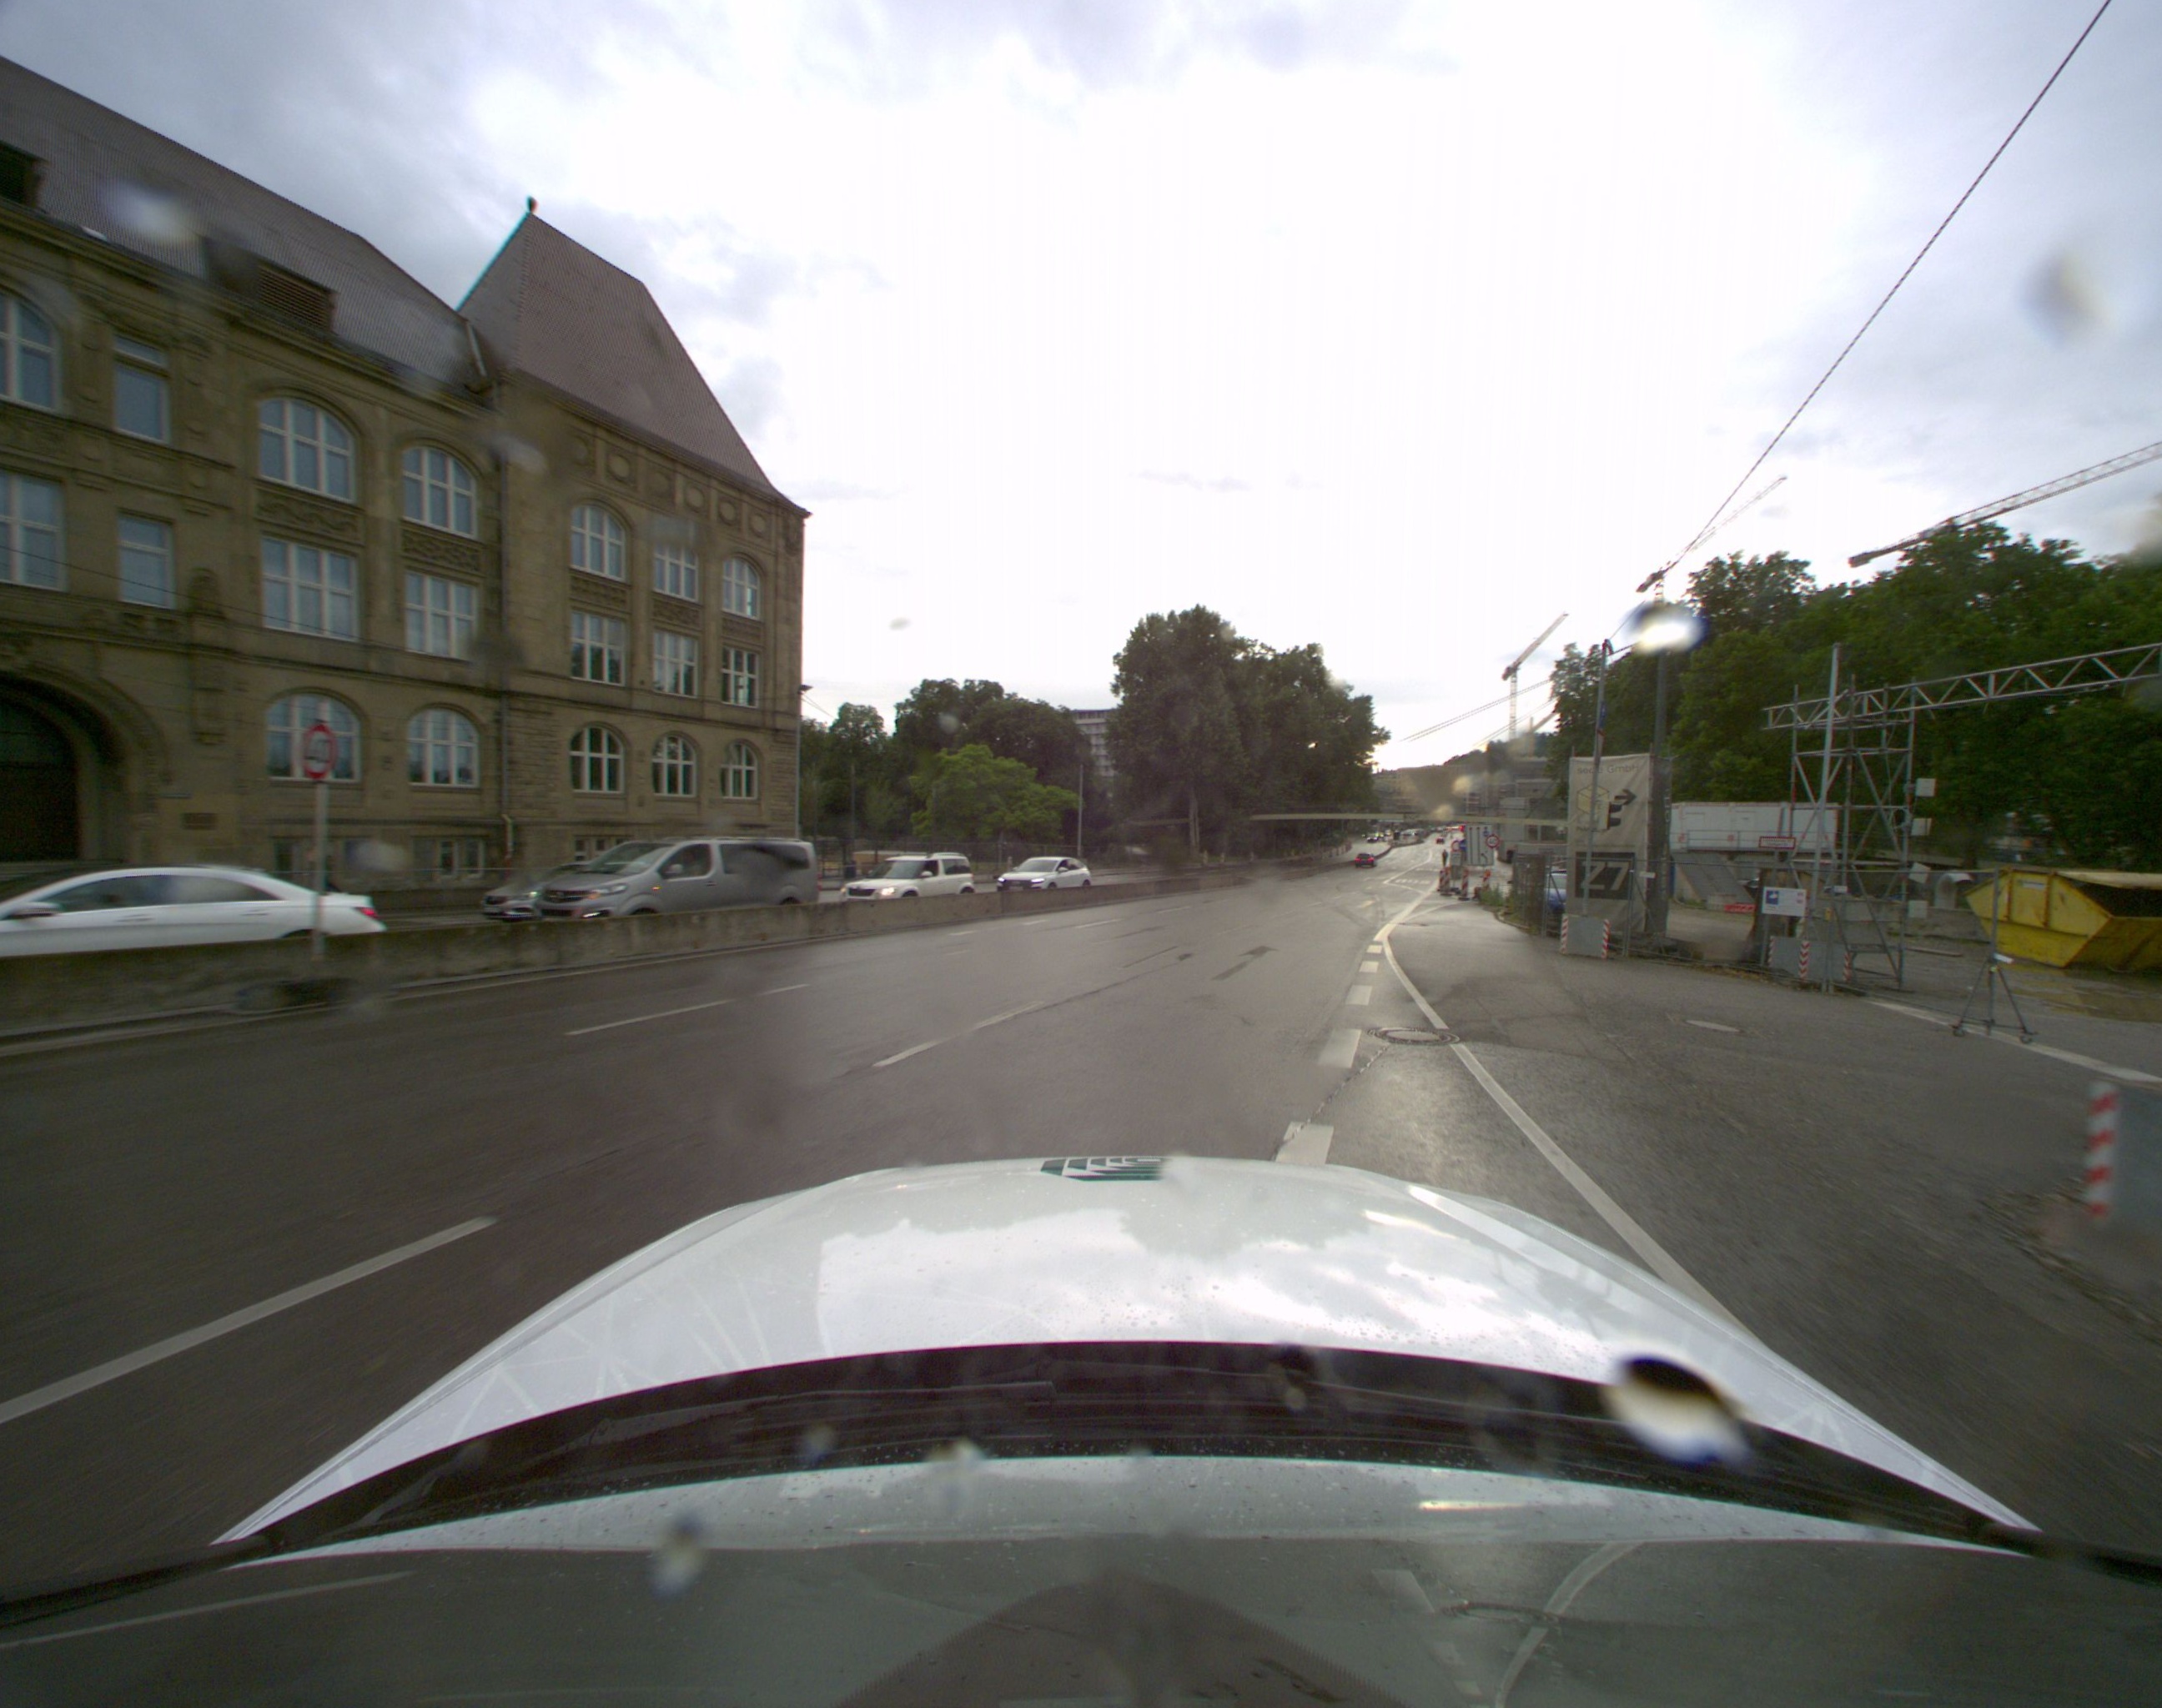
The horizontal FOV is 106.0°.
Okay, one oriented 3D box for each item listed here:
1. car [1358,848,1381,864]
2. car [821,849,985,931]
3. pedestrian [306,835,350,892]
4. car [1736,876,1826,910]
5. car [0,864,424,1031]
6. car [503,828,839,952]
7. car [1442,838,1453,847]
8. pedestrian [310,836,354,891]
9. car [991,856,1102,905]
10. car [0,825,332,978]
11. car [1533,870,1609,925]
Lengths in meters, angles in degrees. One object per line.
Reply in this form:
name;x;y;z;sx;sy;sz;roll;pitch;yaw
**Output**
car;29.062;0.223;81.960;1.885;1.528;4.200;-1;-1;22
car;-4.418;0.836;21.007;1.892;1.866;4.403;-1;-1;24
pedestrian;-21.406;0.262;23.151;0.611;1.584;0.739;-1;-1;26
car;31.982;1.734;37.321;1.698;1.306;4.019;2;0;18
car;-10.392;0.881;8.714;1.976;1.502;4.848;-1;-1;23
car;-7.215;0.562;15.233;1.976;1.866;5.626;-1;-1;24
car;80.583;-2.503;178.939;1.975;2.014;4.023;-1;-1;26
pedestrian;-22.083;0.282;24.007;0.611;1.584;0.738;-1;-1;18
car;-1.086;0.854;28.435;1.877;1.567;4.925;-1;-1;24
car;-14.686;0.649;12.647;1.978;2.014;4.018;-1;-1;17
car;15.590;1.307;26.083;1.815;1.441;4.440;3;1;28
